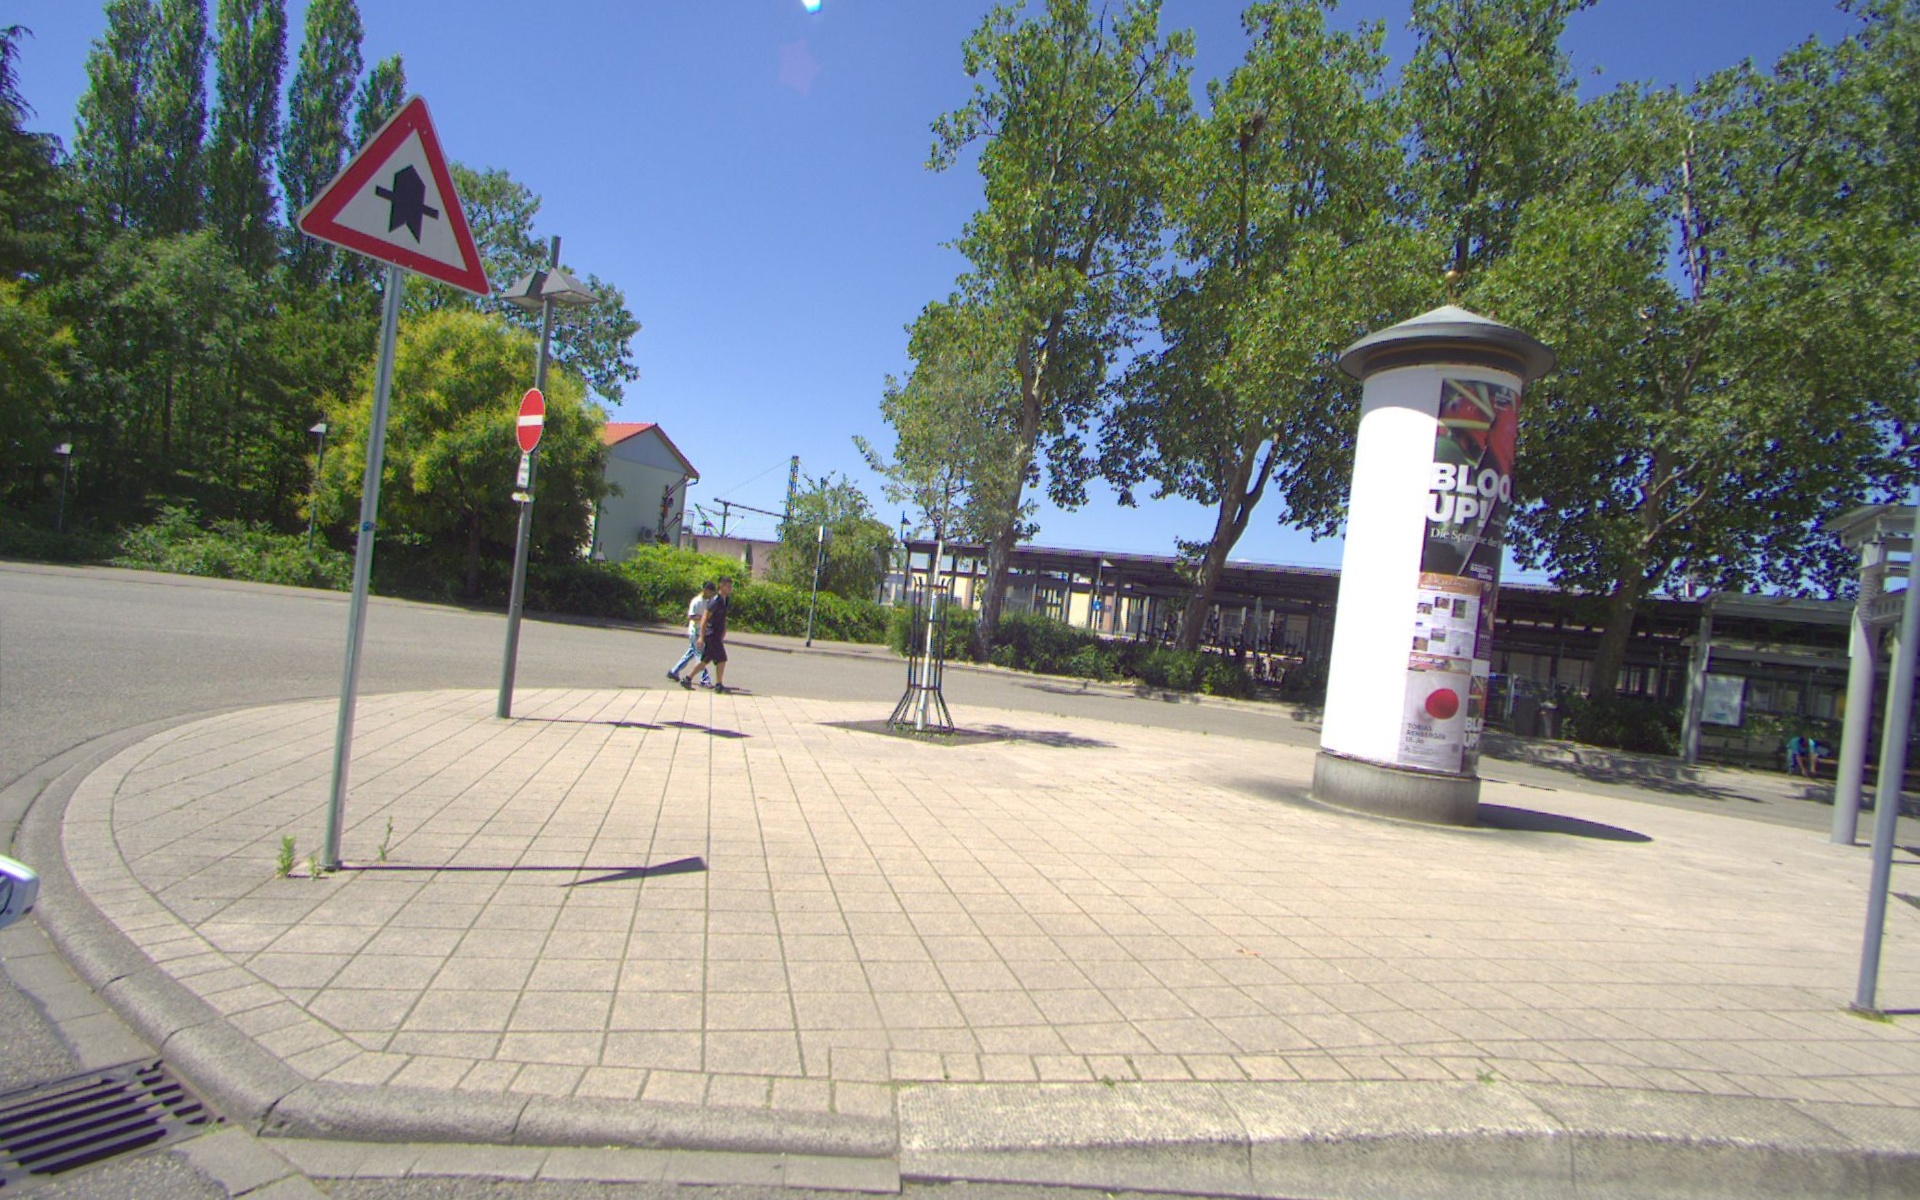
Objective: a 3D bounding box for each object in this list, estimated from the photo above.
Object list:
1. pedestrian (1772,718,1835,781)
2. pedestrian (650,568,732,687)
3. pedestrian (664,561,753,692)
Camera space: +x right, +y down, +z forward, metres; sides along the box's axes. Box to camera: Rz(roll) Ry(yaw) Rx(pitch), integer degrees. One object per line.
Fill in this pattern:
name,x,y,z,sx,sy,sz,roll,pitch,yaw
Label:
pedestrian,19.796,3.483,23.622,0.853,1.290,0.830,7,0,28
pedestrian,-4.259,0.437,15.925,0.902,1.757,0.673,7,0,40
pedestrian,-3.728,0.397,14.881,0.901,1.807,0.692,7,0,39
